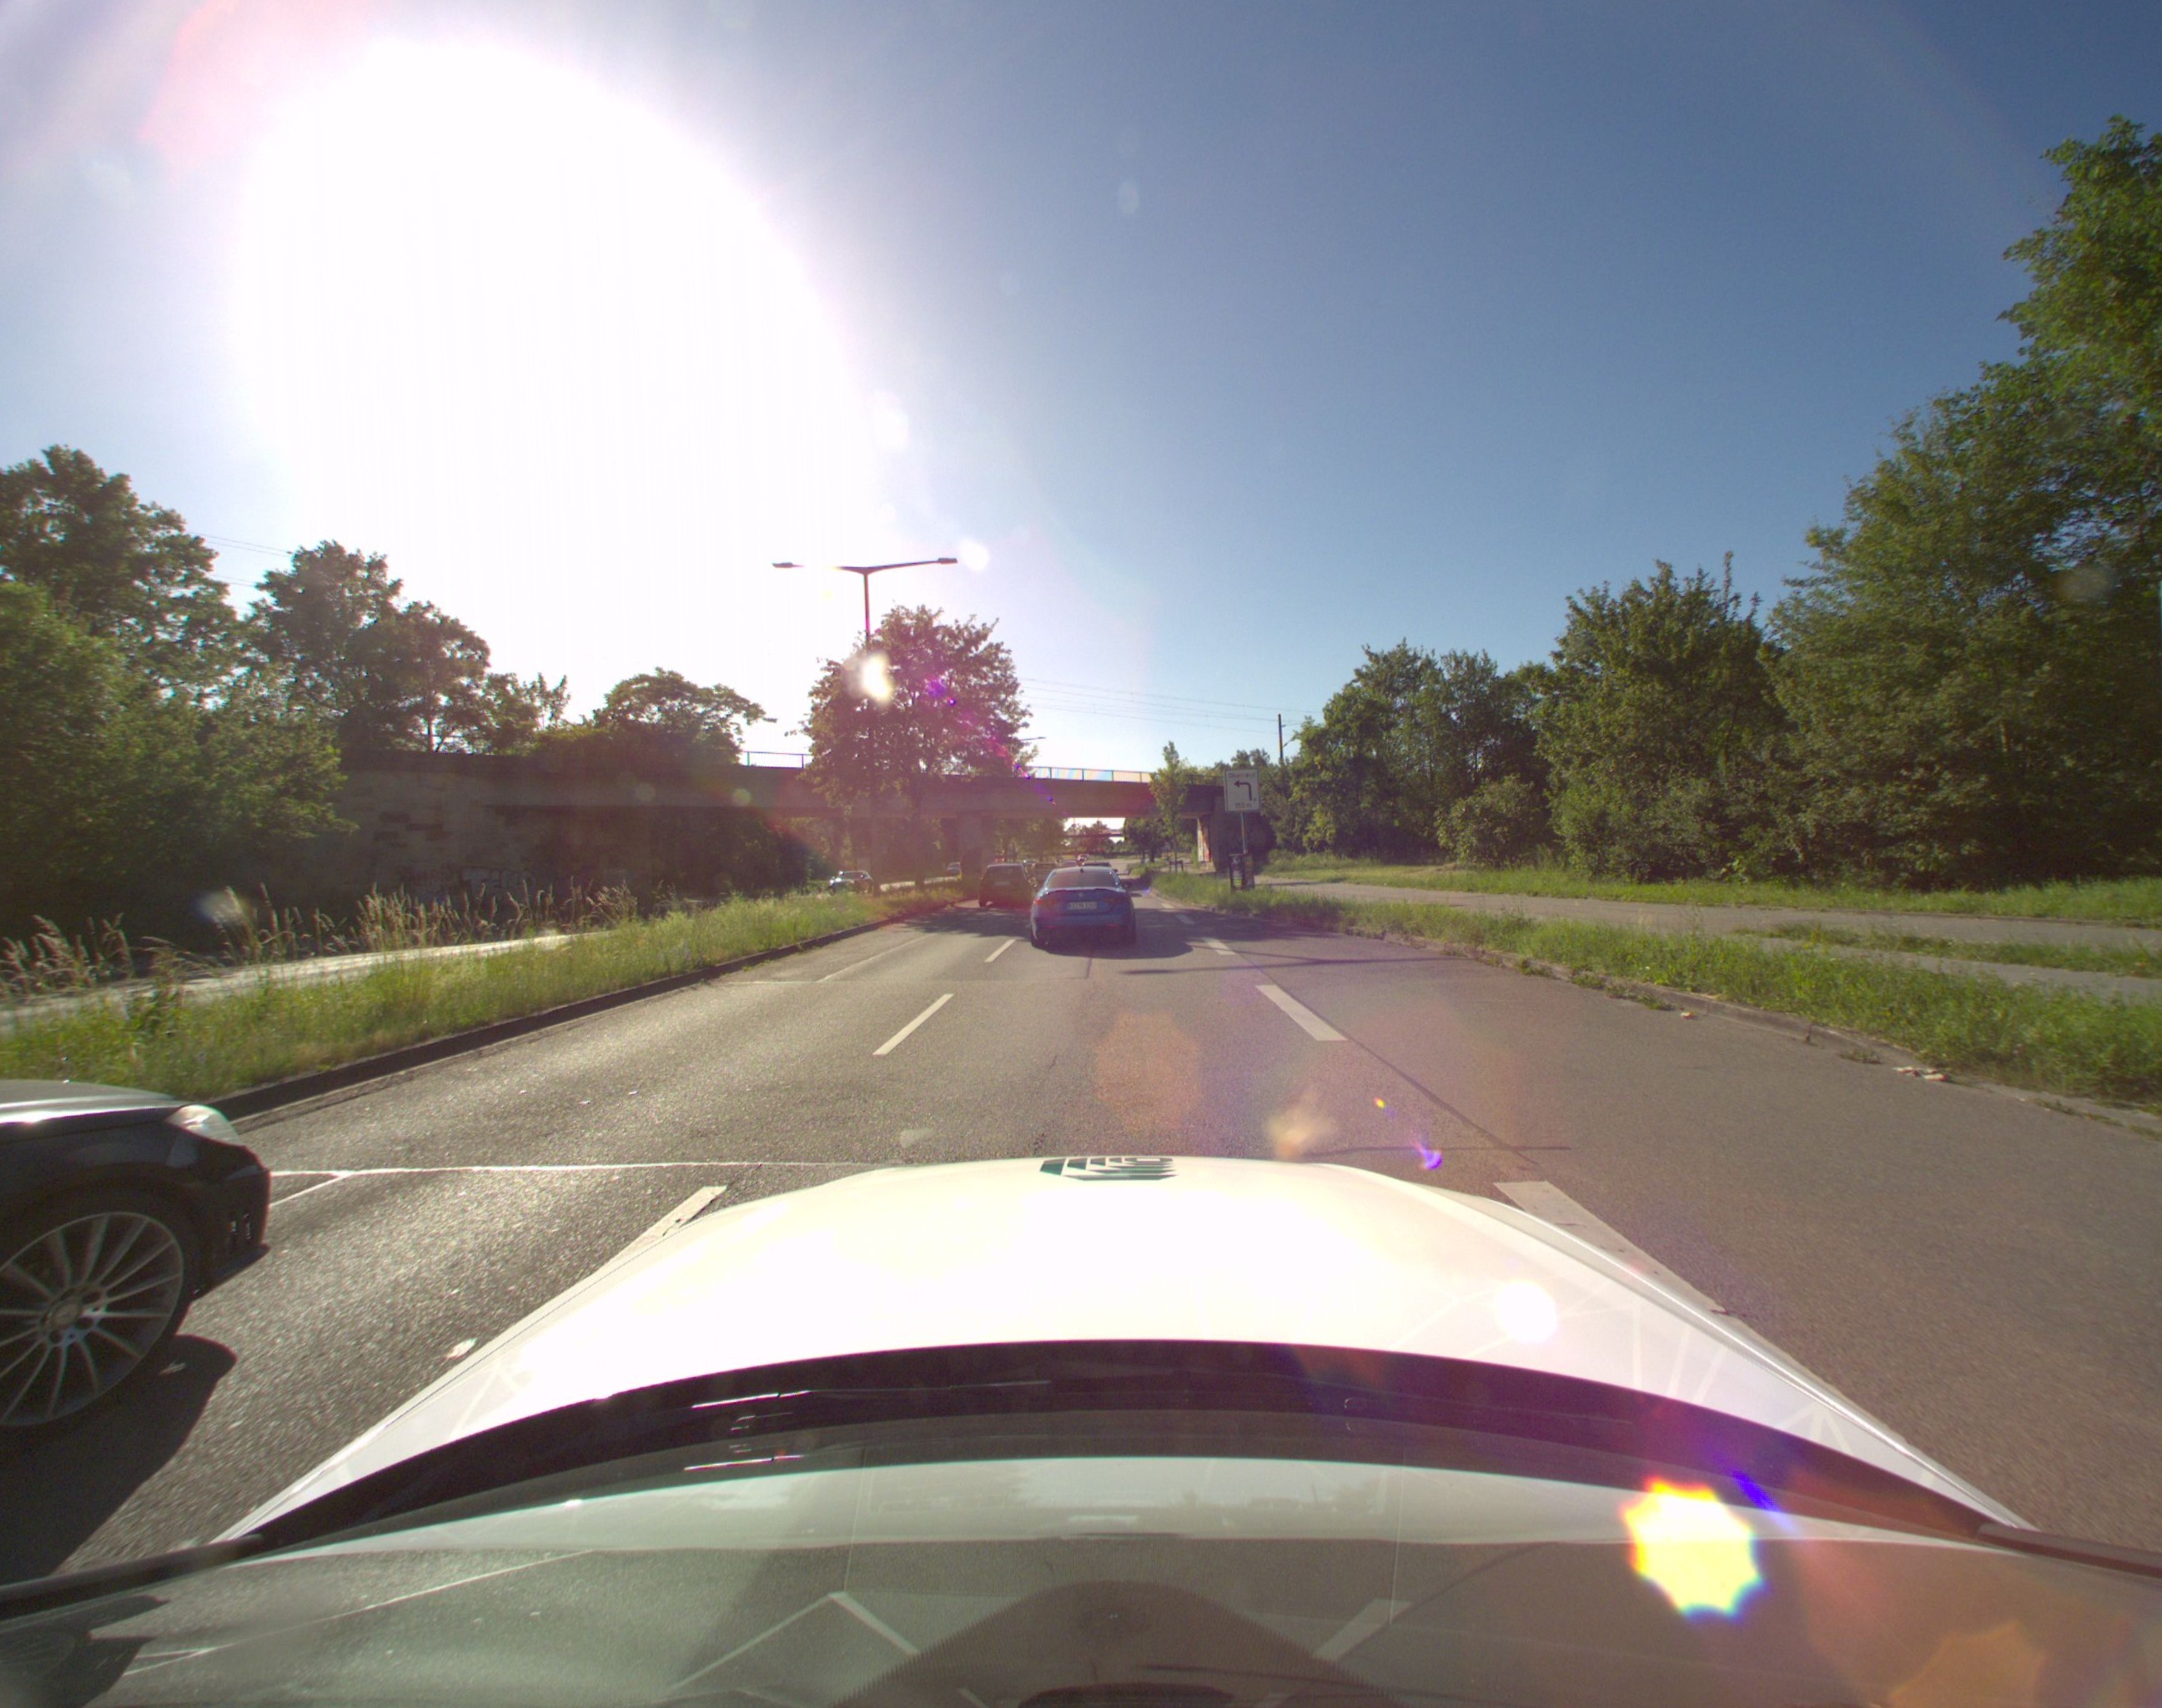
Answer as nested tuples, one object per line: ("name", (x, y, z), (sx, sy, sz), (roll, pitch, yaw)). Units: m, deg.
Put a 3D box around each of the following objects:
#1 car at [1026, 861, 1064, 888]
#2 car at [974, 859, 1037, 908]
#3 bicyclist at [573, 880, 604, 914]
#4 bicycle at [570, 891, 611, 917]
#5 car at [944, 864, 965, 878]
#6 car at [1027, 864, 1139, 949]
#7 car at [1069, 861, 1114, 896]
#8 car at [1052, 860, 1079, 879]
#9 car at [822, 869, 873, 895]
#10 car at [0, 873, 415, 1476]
("car", (-2.076, 1.185, 48.273), (1.876, 1.454, 4.528), (-1, -1, 2))
("car", (-2.622, 1.016, 29.168), (1.701, 1.598, 4.225), (-1, -1, 2))
("bicyclist", (-21.354, 1.853, 35.345), (0.677, 1.402, 1.027), (-1, -1, 1))
("bicycle", (-21.345, 2.177, 35.457), (0.681, 1.030, 1.715), (-1, -1, 2))
("car", (-15.474, 2.073, 99.854), (1.722, 1.617, 4.181), (-3, -1, 2))
("car", (0.103, 0.913, 15.814), (1.876, 1.406, 4.225), (-1, -1, 2))
("car", (0.534, 1.054, 36.631), (1.876, 1.454, 4.528), (-1, -1, 2))
("car", (-1.222, 1.211, 66.087), (1.876, 1.454, 4.528), (-1, -1, 2))
("car", (-14.497, 1.711, 50.702), (1.810, 1.442, 4.091), (-3, -1, 2))
("car", (-3.747, 0.830, 0.808), (1.951, 1.483, 4.921), (-2, -1, 2))
